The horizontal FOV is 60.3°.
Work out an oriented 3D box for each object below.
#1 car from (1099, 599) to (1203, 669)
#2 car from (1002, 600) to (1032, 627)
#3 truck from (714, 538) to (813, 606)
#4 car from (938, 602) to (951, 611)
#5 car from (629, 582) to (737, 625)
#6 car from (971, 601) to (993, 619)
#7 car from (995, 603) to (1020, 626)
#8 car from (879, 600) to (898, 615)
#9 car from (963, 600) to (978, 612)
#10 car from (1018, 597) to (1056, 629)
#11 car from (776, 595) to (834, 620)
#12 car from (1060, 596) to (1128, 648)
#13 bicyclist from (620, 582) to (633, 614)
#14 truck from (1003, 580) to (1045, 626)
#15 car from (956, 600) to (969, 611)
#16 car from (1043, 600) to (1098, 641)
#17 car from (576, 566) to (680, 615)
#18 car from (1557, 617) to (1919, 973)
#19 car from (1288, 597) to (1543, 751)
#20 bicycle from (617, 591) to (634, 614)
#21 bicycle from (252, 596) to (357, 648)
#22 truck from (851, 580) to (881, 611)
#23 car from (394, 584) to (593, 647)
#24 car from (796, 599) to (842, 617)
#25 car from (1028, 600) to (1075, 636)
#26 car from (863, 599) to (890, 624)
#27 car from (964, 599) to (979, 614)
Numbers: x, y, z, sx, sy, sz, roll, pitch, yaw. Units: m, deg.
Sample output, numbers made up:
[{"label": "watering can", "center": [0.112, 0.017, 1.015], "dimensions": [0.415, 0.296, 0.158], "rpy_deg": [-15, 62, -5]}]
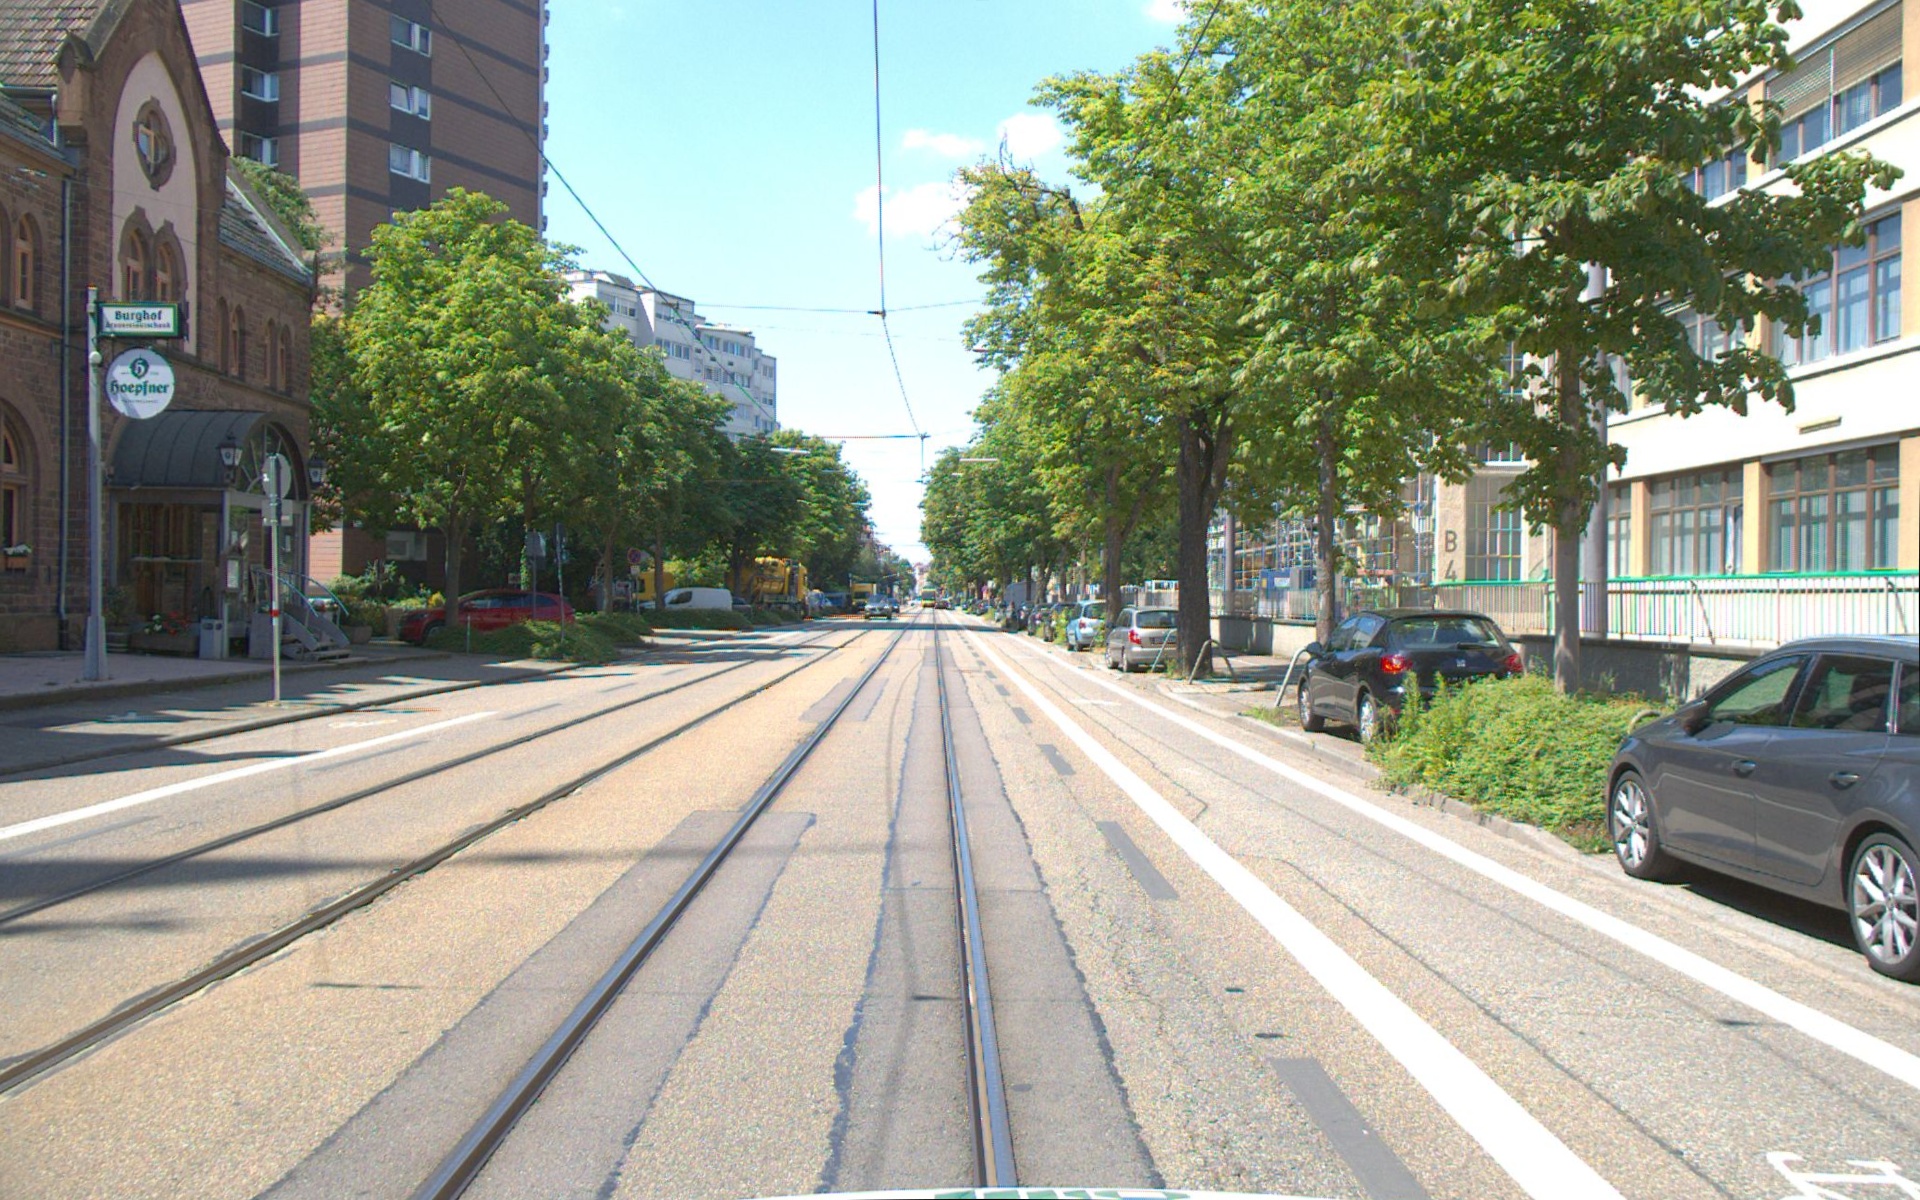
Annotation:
[{"label": "car", "center": [4.395, 0.756, 38.678], "dimensions": [1.638, 1.525, 4.362], "rpy_deg": [0, 0, -4]}, {"label": "car", "center": [3.447, 0.802, 100.635], "dimensions": [1.611, 1.561, 3.946], "rpy_deg": [0, 0, -1]}, {"label": "truck", "center": [-12.380, -1.673, 105.478], "dimensions": [2.657, 3.909, 10.972], "rpy_deg": [2, -1, 13]}, {"label": "car", "center": [-2.142, 0.913, 232.605], "dimensions": [1.745, 1.369, 3.415], "rpy_deg": [0, 0, -1]}, {"label": "car", "center": [-12.713, 0.171, 76.028], "dimensions": [4.492, 1.822, 1.879], "rpy_deg": [2, 0, -34]}, {"label": "car", "center": [1.899, 0.895, 146.025], "dimensions": [1.606, 1.511, 3.869], "rpy_deg": [0, -1, -4]}, {"label": "car", "center": [3.229, 0.977, 112.386], "dimensions": [1.610, 1.561, 3.785], "rpy_deg": [0, 0, 0]}, {"label": "car", "center": [-6.804, 0.675, 157.786], "dimensions": [1.738, 1.422, 4.286], "rpy_deg": [0, 0, -1]}, {"label": "car", "center": [1.301, 0.800, 206.587], "dimensions": [1.676, 1.448, 4.308], "rpy_deg": [0, -1, -1]}, {"label": "car", "center": [3.803, 0.627, 82.190], "dimensions": [1.786, 1.497, 4.401], "rpy_deg": [0, 0, 2]}, {"label": "car", "center": [-12.650, 0.621, 135.292], "dimensions": [1.887, 1.968, 4.729], "rpy_deg": [-2, -1, 41]}, {"label": "car", "center": [4.148, 0.658, 51.633], "dimensions": [1.637, 1.544, 4.200], "rpy_deg": [0, 0, -2]}, {"label": "bicyclist", "center": [-16.168, -0.108, 80.105], "dimensions": [0.471, 1.507, 0.780], "rpy_deg": [2, 0, -3]}, {"label": "truck", "center": [3.545, 0.154, 92.781], "dimensions": [1.974, 2.532, 5.954], "rpy_deg": [0, 0, -2]}, {"label": "car", "center": [0.295, 0.709, 224.787], "dimensions": [1.676, 1.448, 4.308], "rpy_deg": [0, -1, -1]}, {"label": "car", "center": [4.037, 0.732, 60.903], "dimensions": [1.637, 1.463, 4.040], "rpy_deg": [0, 0, -2]}, {"label": "car", "center": [-19.494, -0.523, 97.413], "dimensions": [2.137, 2.611, 6.713], "rpy_deg": [0, -2, 29]}, {"label": "car", "center": [4.773, 0.838, 8.409], "dimensions": [1.637, 1.433, 4.747], "rpy_deg": [0, 0, -2]}, {"label": "car", "center": [4.919, 0.734, 18.417], "dimensions": [1.637, 1.515, 3.979], "rpy_deg": [0, 0, -2]}, {"label": "bicycle", "center": [-16.180, 0.119, 80.070], "dimensions": [0.507, 1.065, 1.875], "rpy_deg": [2, 0, -3]}, {"label": "bicycle", "center": [-13.887, 0.465, 35.082], "dimensions": [1.964, 0.906, 0.594], "rpy_deg": [5, -1, -18]}, {"label": "truck", "center": [-9.184, -0.428, 162.058], "dimensions": [2.312, 2.902, 7.378], "rpy_deg": [-1, 0, 1]}, {"label": "car", "center": [-12.281, 0.410, 43.614], "dimensions": [4.713, 1.594, 1.982], "rpy_deg": [1, 0, -30]}, {"label": "car", "center": [-12.664, 0.685, 148.679], "dimensions": [1.730, 1.458, 3.978], "rpy_deg": [-3, -1, 41]}, {"label": "car", "center": [3.911, 0.744, 71.354], "dimensions": [1.787, 1.497, 4.486], "rpy_deg": [0, 0, 0]}, {"label": "car", "center": [-5.853, 0.771, 116.164], "dimensions": [1.793, 1.710, 4.184], "rpy_deg": [0, 0, -1]}, {"label": "car", "center": [1.292, 0.767, 187.158], "dimensions": [1.560, 1.645, 3.906], "rpy_deg": [0, -1, -1]}]
